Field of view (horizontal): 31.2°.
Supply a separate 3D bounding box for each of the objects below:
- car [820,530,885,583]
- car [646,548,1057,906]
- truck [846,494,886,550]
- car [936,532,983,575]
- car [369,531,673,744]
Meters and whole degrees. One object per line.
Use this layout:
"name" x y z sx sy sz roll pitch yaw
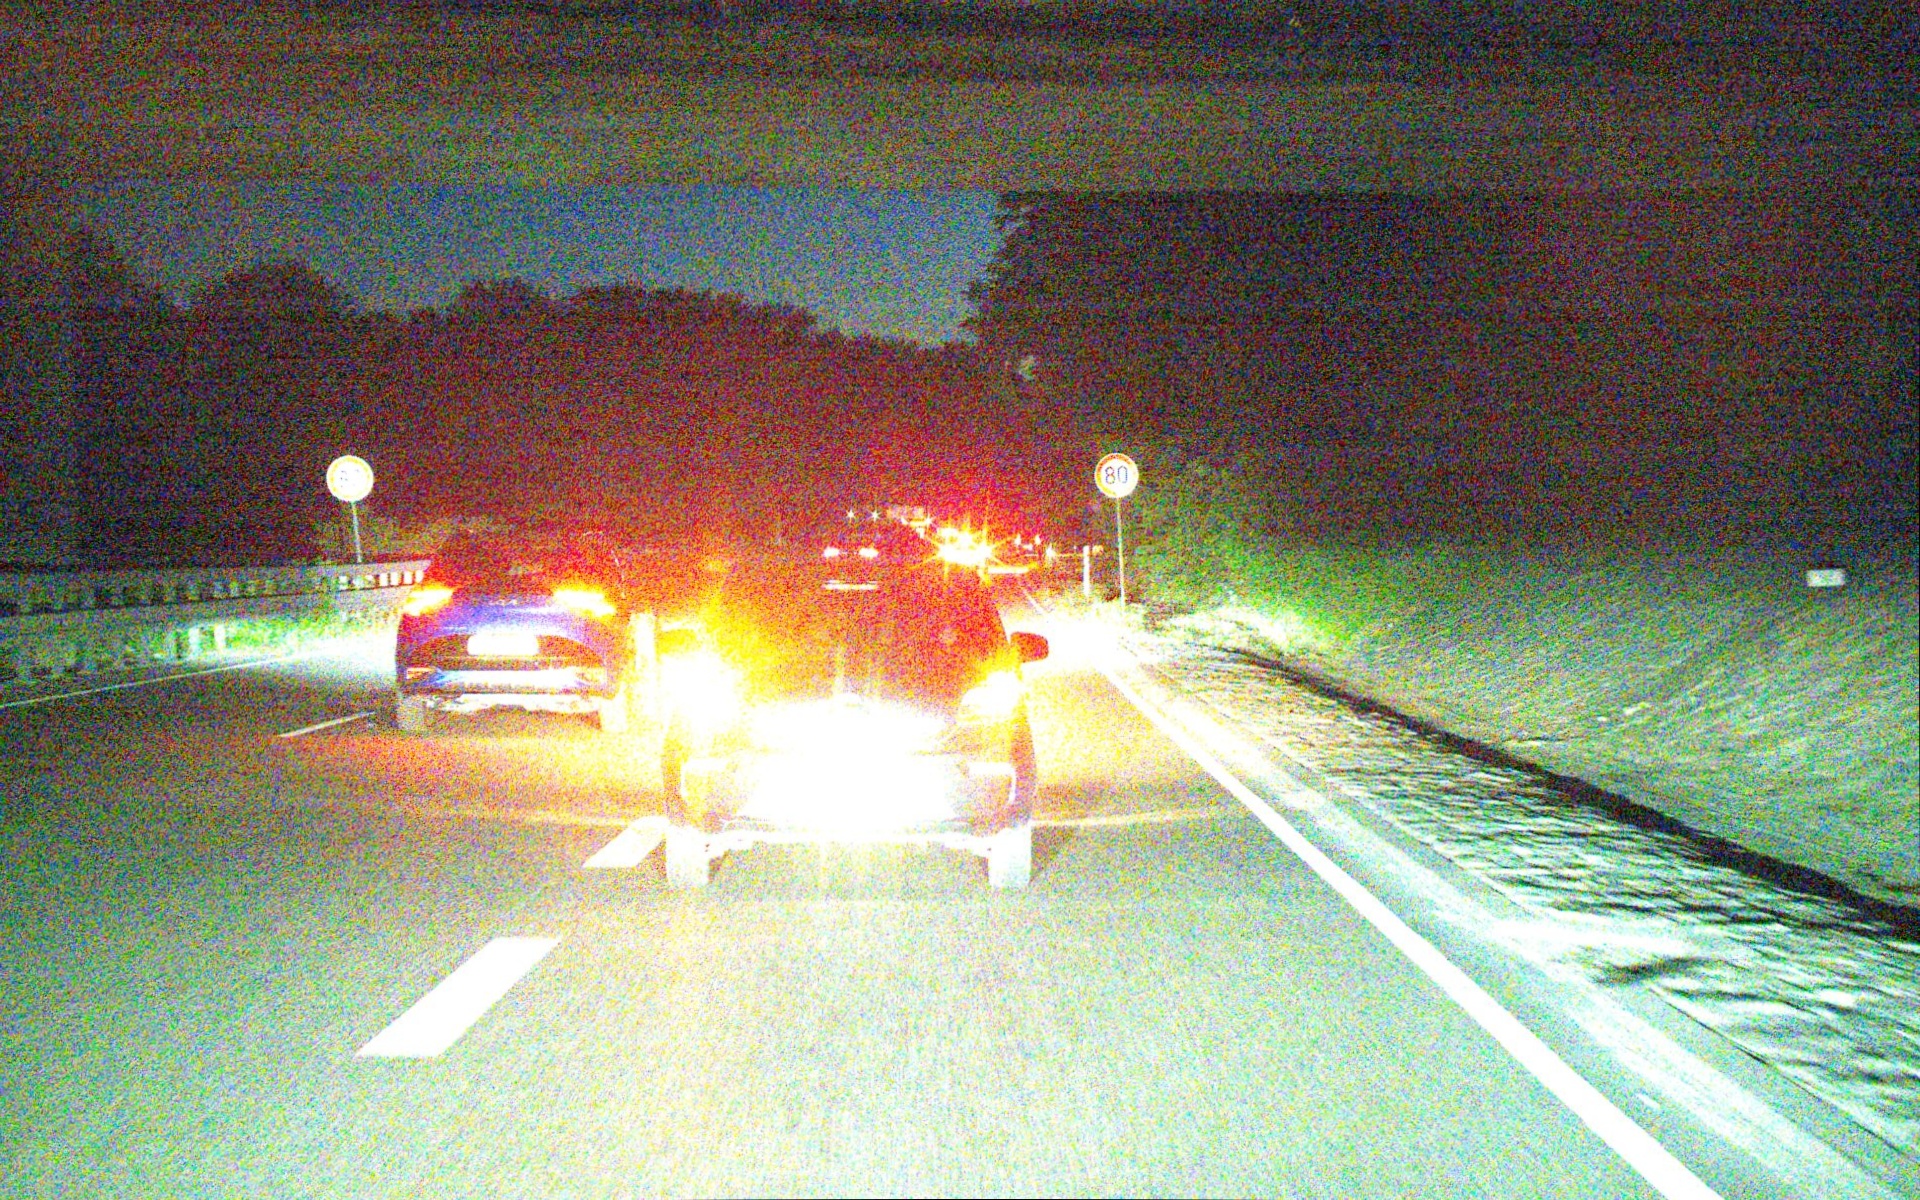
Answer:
"car" -3.588 -1.442 115.073 1.951 1.533 4.241 -4 -1 0
"car" -0.590 0.508 16.373 1.691 1.473 4.001 1 1 -4
"truck" -7.038 -5.870 258.941 2.676 4.163 5.868 0 1 2
"car" -0.027 -1.775 131.833 1.733 1.612 3.799 0 1 -1
"car" -3.578 0.245 28.823 1.940 1.603 4.644 1 1 0
